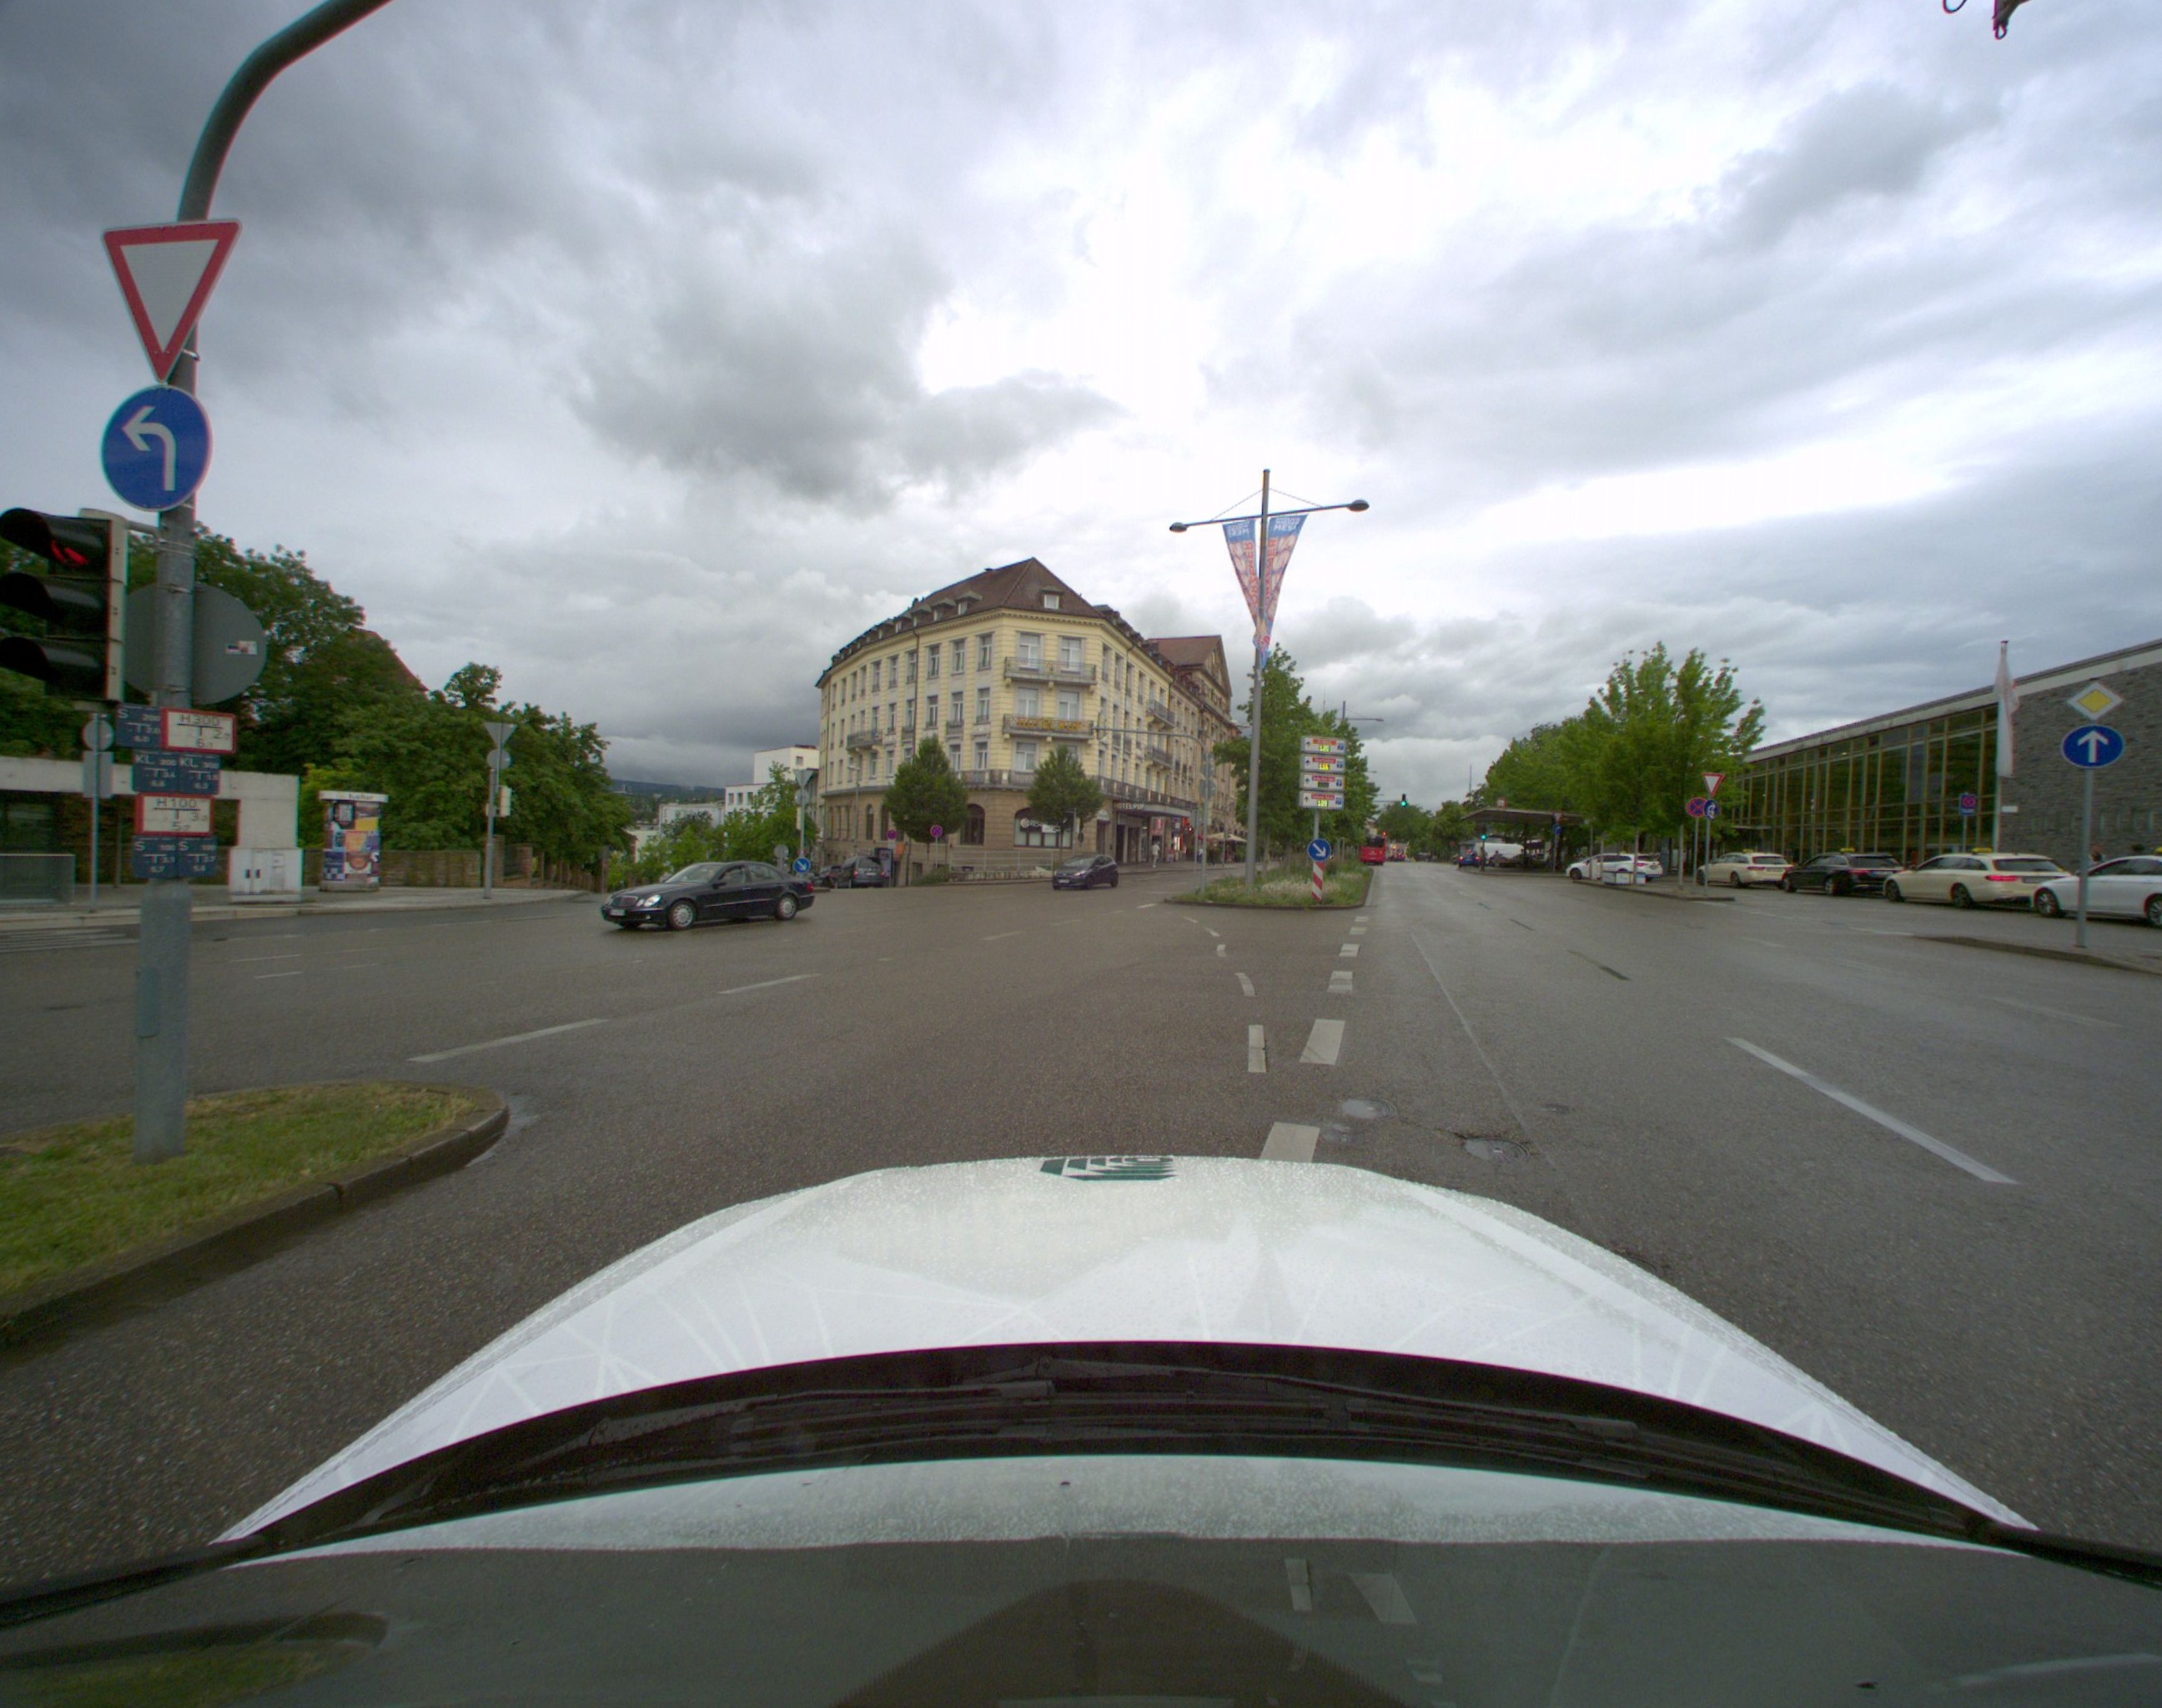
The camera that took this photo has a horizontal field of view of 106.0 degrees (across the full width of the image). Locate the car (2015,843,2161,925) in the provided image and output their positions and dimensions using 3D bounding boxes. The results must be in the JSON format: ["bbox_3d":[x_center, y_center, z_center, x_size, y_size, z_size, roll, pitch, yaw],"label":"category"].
[{"bbox_3d":[22.389,0.575,16.880,1.864,1.599,4.928,-1,0,21],"label":"car"}]

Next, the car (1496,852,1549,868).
[{"bbox_3d":[40.316,0.546,74.471,3.987,1.359,1.858,1,0,-10],"label":"car"}]

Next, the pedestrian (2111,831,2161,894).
[{"bbox_3d":[27.912,0.223,21.456,0.723,1.626,0.791,0,-1,-24],"label":"pedestrian"}]

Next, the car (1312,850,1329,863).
[{"bbox_3d":[38.799,0.429,131.867,1.976,2.014,5.028,-1,0,22],"label":"car"}]

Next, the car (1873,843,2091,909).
[{"bbox_3d":[24.462,0.536,22.427,1.976,1.599,4.984,-1,0,21],"label":"car"}]

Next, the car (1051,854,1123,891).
[{"bbox_3d":[0.301,0.759,34.901,1.662,1.512,3.885,-1,0,24],"label":"car"}]

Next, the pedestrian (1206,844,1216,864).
[{"bbox_3d":[10.812,0.003,67.913,0.676,1.664,0.811,-1,-1,21],"label":"pedestrian"}]

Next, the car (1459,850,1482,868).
[{"bbox_3d":[36.046,0.483,75.480,1.842,1.569,4.022,1,0,24],"label":"car"}]

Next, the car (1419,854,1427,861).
[{"bbox_3d":[79.763,0.877,189.782,1.581,1.560,3.669,-1,0,21],"label":"car"}]

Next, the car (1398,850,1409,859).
[{"bbox_3d":[68.851,0.130,173.899,1.976,2.014,4.021,-1,0,21],"label":"car"}]

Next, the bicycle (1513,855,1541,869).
[{"bbox_3d":[33.869,0.587,61.852,1.820,1.056,0.421,0,-1,2],"label":"bicycle"}]

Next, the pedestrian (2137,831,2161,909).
[{"bbox_3d":[30.329,0.431,22.694,0.789,2.164,0.725,-1,-1,15],"label":"pedestrian"}]

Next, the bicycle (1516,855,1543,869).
[{"bbox_3d":[33.813,0.585,61.392,1.820,1.056,0.421,0,-1,2],"label":"bicycle"}]

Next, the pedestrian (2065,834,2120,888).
[{"bbox_3d":[30.561,0.211,24.616,0.762,1.580,0.714,-1,-1,17],"label":"pedestrian"}]

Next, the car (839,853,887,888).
[{"bbox_3d":[-12.029,0.868,44.823,1.639,1.759,3.963,0,0,-29],"label":"car"}]

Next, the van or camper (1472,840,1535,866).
[{"bbox_3d":[46.716,-0.127,90.109,5.940,2.763,2.194,0,-1,-7],"label":"van or camper"}]

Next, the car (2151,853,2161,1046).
[{"bbox_3d":[7.697,0.719,3.974,1.678,1.465,4.480,-1,-1,35],"label":"car"}]

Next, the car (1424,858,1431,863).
[{"bbox_3d":[101.912,1.894,239.621,1.631,1.661,3.669,-1,0,21],"label":"car"}]

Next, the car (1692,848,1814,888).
[{"bbox_3d":[28.373,0.548,34.620,1.980,1.599,4.976,-1,0,13],"label":"car"}]

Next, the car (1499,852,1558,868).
[{"bbox_3d":[38.992,0.537,71.032,4.170,1.325,1.840,1,0,1],"label":"car"}]

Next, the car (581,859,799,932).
[{"bbox_3d":[-8.549,0.826,18.175,1.937,1.422,4.024,-1,0,26],"label":"car"}]

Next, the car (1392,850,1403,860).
[{"bbox_3d":[62.034,0.253,159.830,1.976,2.014,4.021,-1,0,21],"label":"car"}]

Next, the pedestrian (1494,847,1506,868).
[{"bbox_3d":[38.190,0.315,74.201,0.849,1.835,1.196,0,-1,20],"label":"pedestrian"}]

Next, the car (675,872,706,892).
[{"bbox_3d":[-29.915,2.137,62.406,1.641,1.398,3.958,0,-1,-33],"label":"car"}]

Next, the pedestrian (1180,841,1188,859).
[{"bbox_3d":[9.379,-0.374,73.854,0.662,1.664,0.538,-1,-1,12],"label":"pedestrian"}]

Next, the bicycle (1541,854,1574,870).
[{"bbox_3d":[31.195,0.518,53.360,1.812,1.056,0.422,-1,-1,20],"label":"bicycle"}]

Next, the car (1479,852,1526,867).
[{"bbox_3d":[43.836,0.583,84.686,3.981,1.443,1.861,1,0,-6],"label":"car"}]

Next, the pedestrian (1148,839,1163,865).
[{"bbox_3d":[5.275,-0.151,57.901,0.872,1.813,0.754,-1,-1,20],"label":"pedestrian"}]

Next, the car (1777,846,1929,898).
[{"bbox_3d":[26.589,0.554,28.306,1.977,1.599,4.983,1,1,20],"label":"car"}]

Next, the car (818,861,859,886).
[{"bbox_3d":[-15.072,1.163,50.458,1.639,1.398,3.963,0,0,-29],"label":"car"}]

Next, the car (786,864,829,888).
[{"bbox_3d":[-18.392,1.451,54.601,1.777,1.478,3.958,0,-1,-34],"label":"car"}]

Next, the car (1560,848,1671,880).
[{"bbox_3d":[27.481,0.510,42.040,1.763,1.546,4.747,1,0,-18],"label":"car"}]

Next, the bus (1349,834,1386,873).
[{"bbox_3d":[31.340,-0.033,88.966,3.515,3.979,11.226,-1,0,20],"label":"bus"}]

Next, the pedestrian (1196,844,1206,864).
[{"bbox_3d":[10.064,0.009,68.331,0.675,1.664,0.811,-1,-1,24],"label":"pedestrian"}]

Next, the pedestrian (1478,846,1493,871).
[{"bbox_3d":[28.971,0.316,58.313,0.741,1.747,0.839,0,-1,12],"label":"pedestrian"}]
